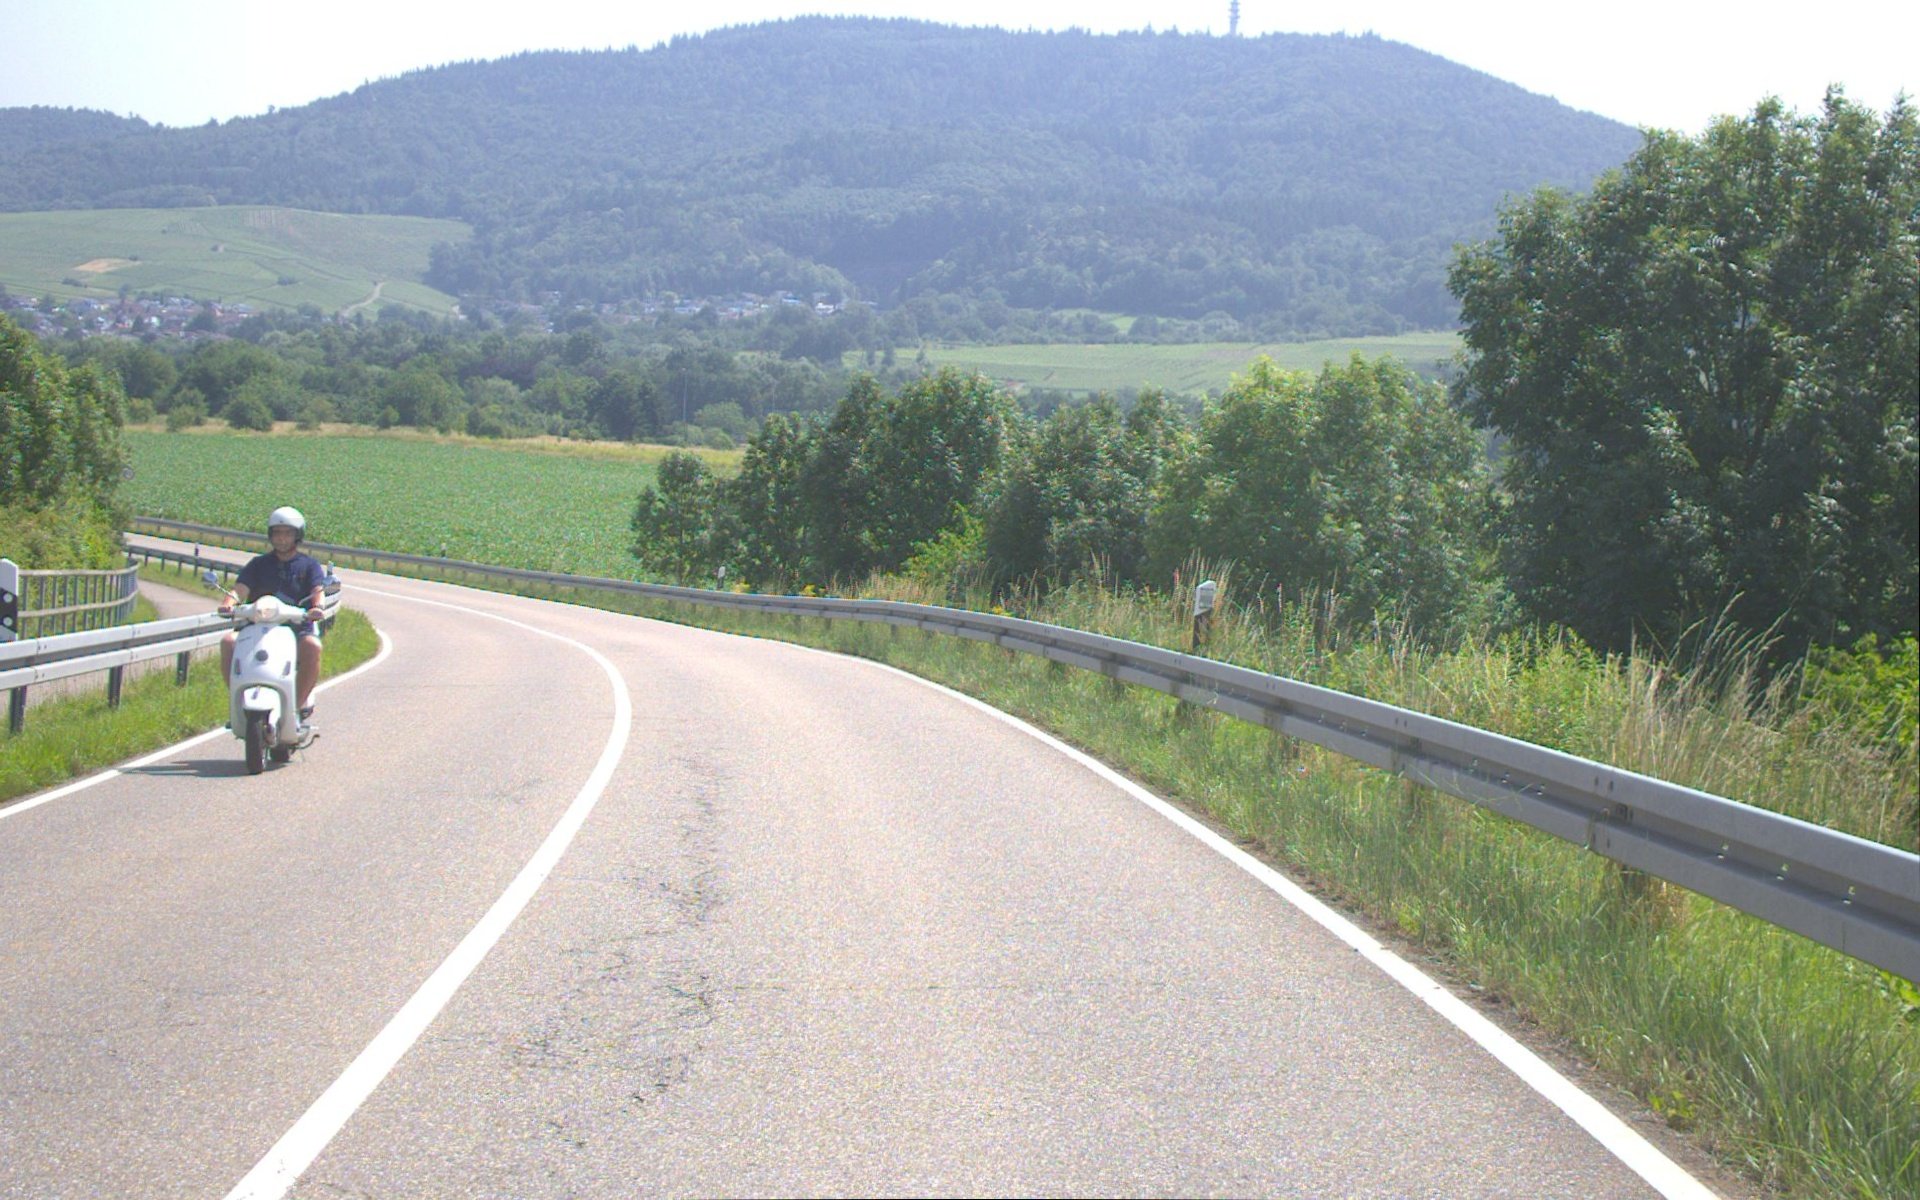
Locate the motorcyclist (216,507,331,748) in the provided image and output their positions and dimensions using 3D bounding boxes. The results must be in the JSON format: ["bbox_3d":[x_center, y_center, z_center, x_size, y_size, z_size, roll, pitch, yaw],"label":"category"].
[{"bbox_3d":[-4.499,0.170,22.564,0.654,1.557,0.775,0,1,-5],"label":"motorcyclist"}]

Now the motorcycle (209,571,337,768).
[{"bbox_3d":[-4.470,0.431,22.454,0.643,1.219,1.639,0,1,-5],"label":"motorcycle"}]
